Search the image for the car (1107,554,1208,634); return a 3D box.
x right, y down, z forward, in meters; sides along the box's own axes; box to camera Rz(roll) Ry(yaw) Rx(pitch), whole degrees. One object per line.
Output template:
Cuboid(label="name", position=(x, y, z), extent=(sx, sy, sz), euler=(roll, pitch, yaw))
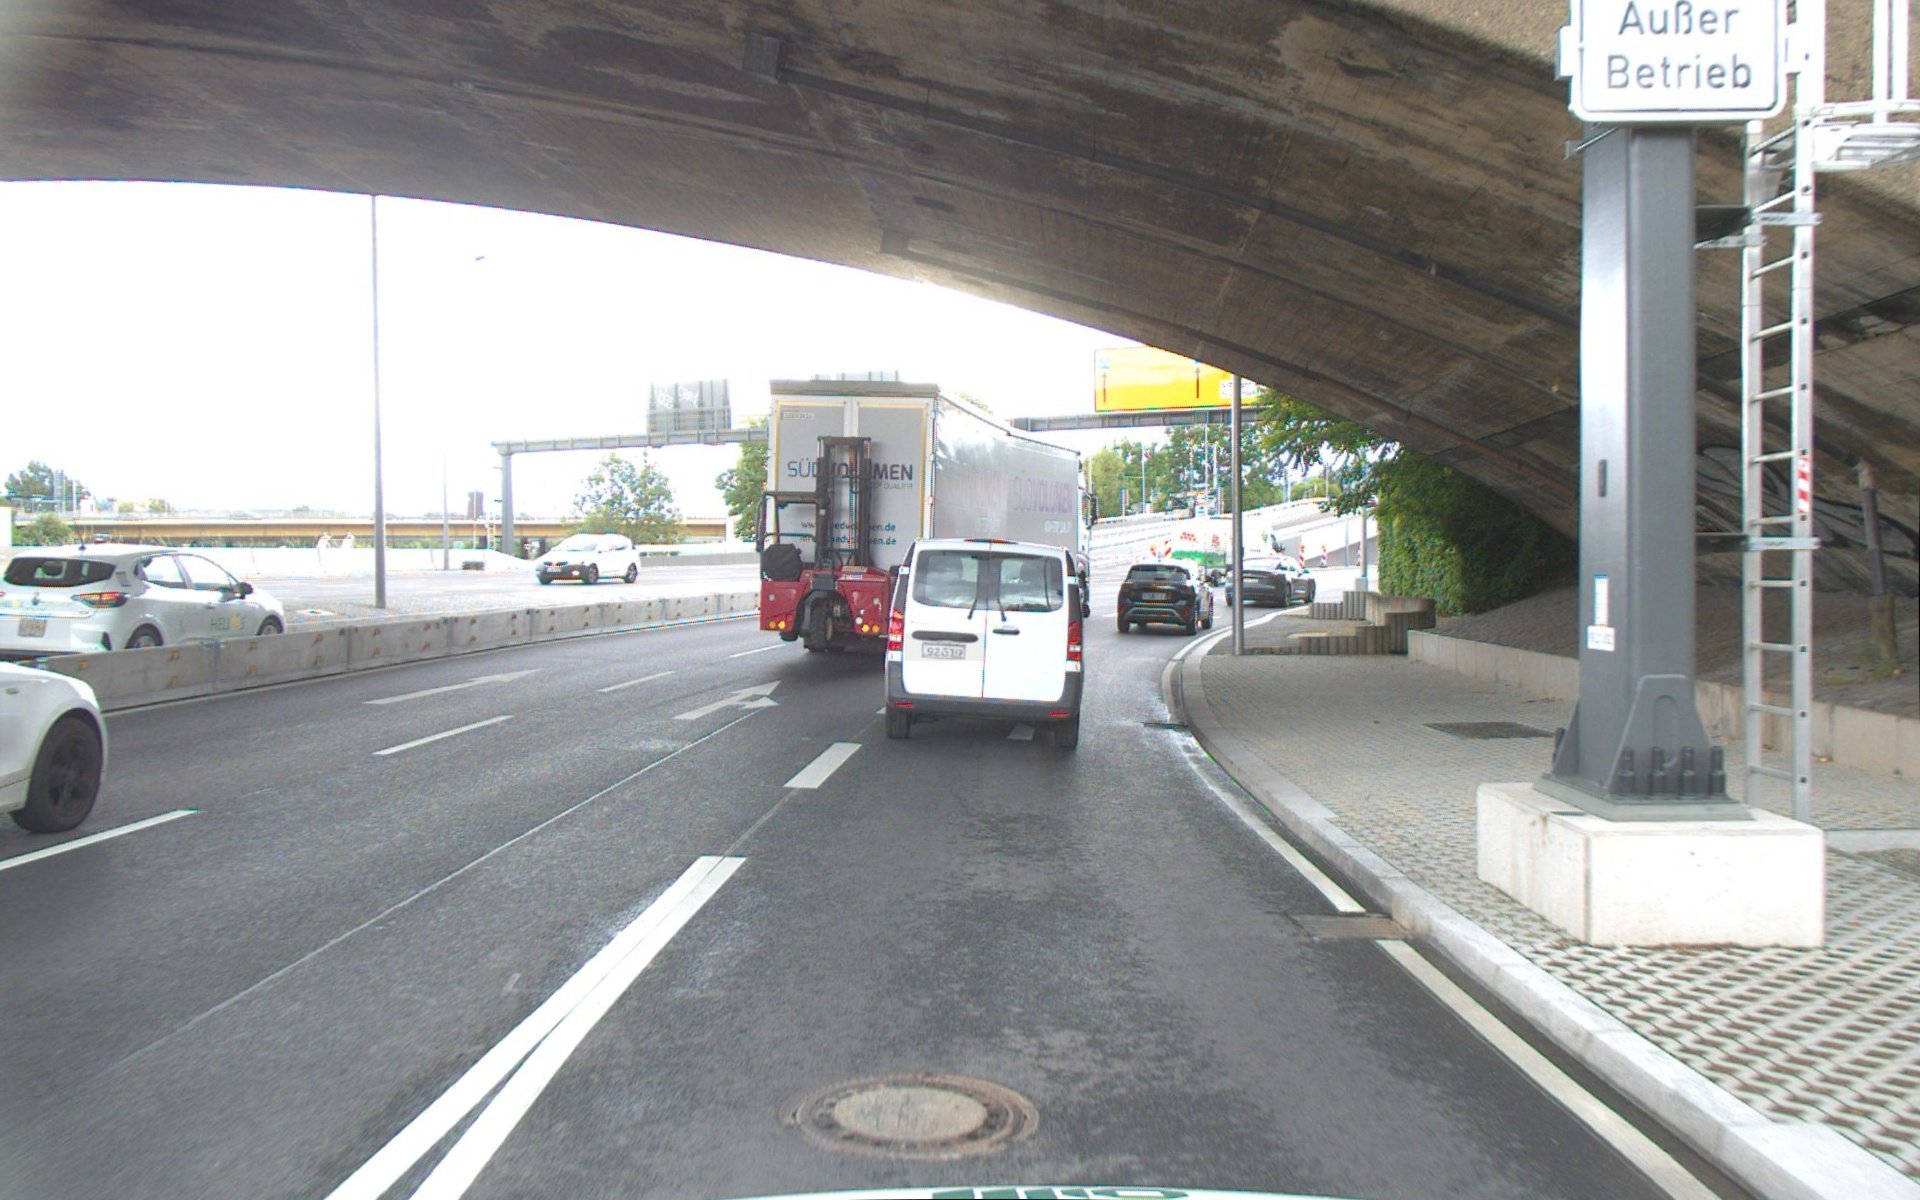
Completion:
Cuboid(label="car", position=(4.438, -0.157, 36.720), extent=(1.712, 1.653, 3.848), euler=(-1, 1, 14))

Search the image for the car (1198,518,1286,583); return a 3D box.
Cuboid(label="car", position=(11.814, -2.041, 69.046), extent=(1.956, 2.585, 5.166), euler=(2, 2, 29))

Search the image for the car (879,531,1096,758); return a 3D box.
Cuboid(label="car", position=(0.261, 0.358, 16.860), extent=(1.838, 1.924, 4.753), euler=(2, 1, 0))

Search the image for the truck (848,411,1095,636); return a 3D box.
Cuboid(label="truck", position=(0.639, -1.574, 37.171), extent=(2.924, 4.248, 11.250), euler=(2, 1, 14))

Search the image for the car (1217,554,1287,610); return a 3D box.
Cuboid(label="car", position=(8.625, -0.499, 48.751), extent=(1.469, 1.495, 3.400), euler=(-3, -1, 19))

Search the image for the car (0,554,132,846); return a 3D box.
Cuboid(label="car", position=(-5.731, 0.526, 7.669), extent=(1.604, 1.457, 3.984), euler=(2, 2, 3))

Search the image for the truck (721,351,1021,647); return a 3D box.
Cuboid(label="truck", position=(-1.084, -1.517, 28.220), extent=(2.855, 4.086, 10.210), euler=(2, 1, 9))

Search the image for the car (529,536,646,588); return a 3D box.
Cuboid(label="car", position=(-11.577, -1.194, 51.749), extent=(1.816, 1.512, 4.547), euler=(1, 2, 12))

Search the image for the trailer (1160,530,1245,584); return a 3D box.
Cuboid(label="trailer", position=(9.548, -1.681, 65.015), extent=(1.956, 1.991, 4.072), euler=(2, 2, 29))

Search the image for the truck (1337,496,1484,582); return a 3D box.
Cuboid(label="truck", position=(22.761, -2.942, 82.529), extent=(3.254, 3.875, 16.567), euler=(2, 2, 29))

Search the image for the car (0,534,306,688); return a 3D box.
Cuboid(label="car", position=(-9.086, 0.086, 18.580), extent=(1.542, 1.510, 4.000), euler=(1, 1, 6))
